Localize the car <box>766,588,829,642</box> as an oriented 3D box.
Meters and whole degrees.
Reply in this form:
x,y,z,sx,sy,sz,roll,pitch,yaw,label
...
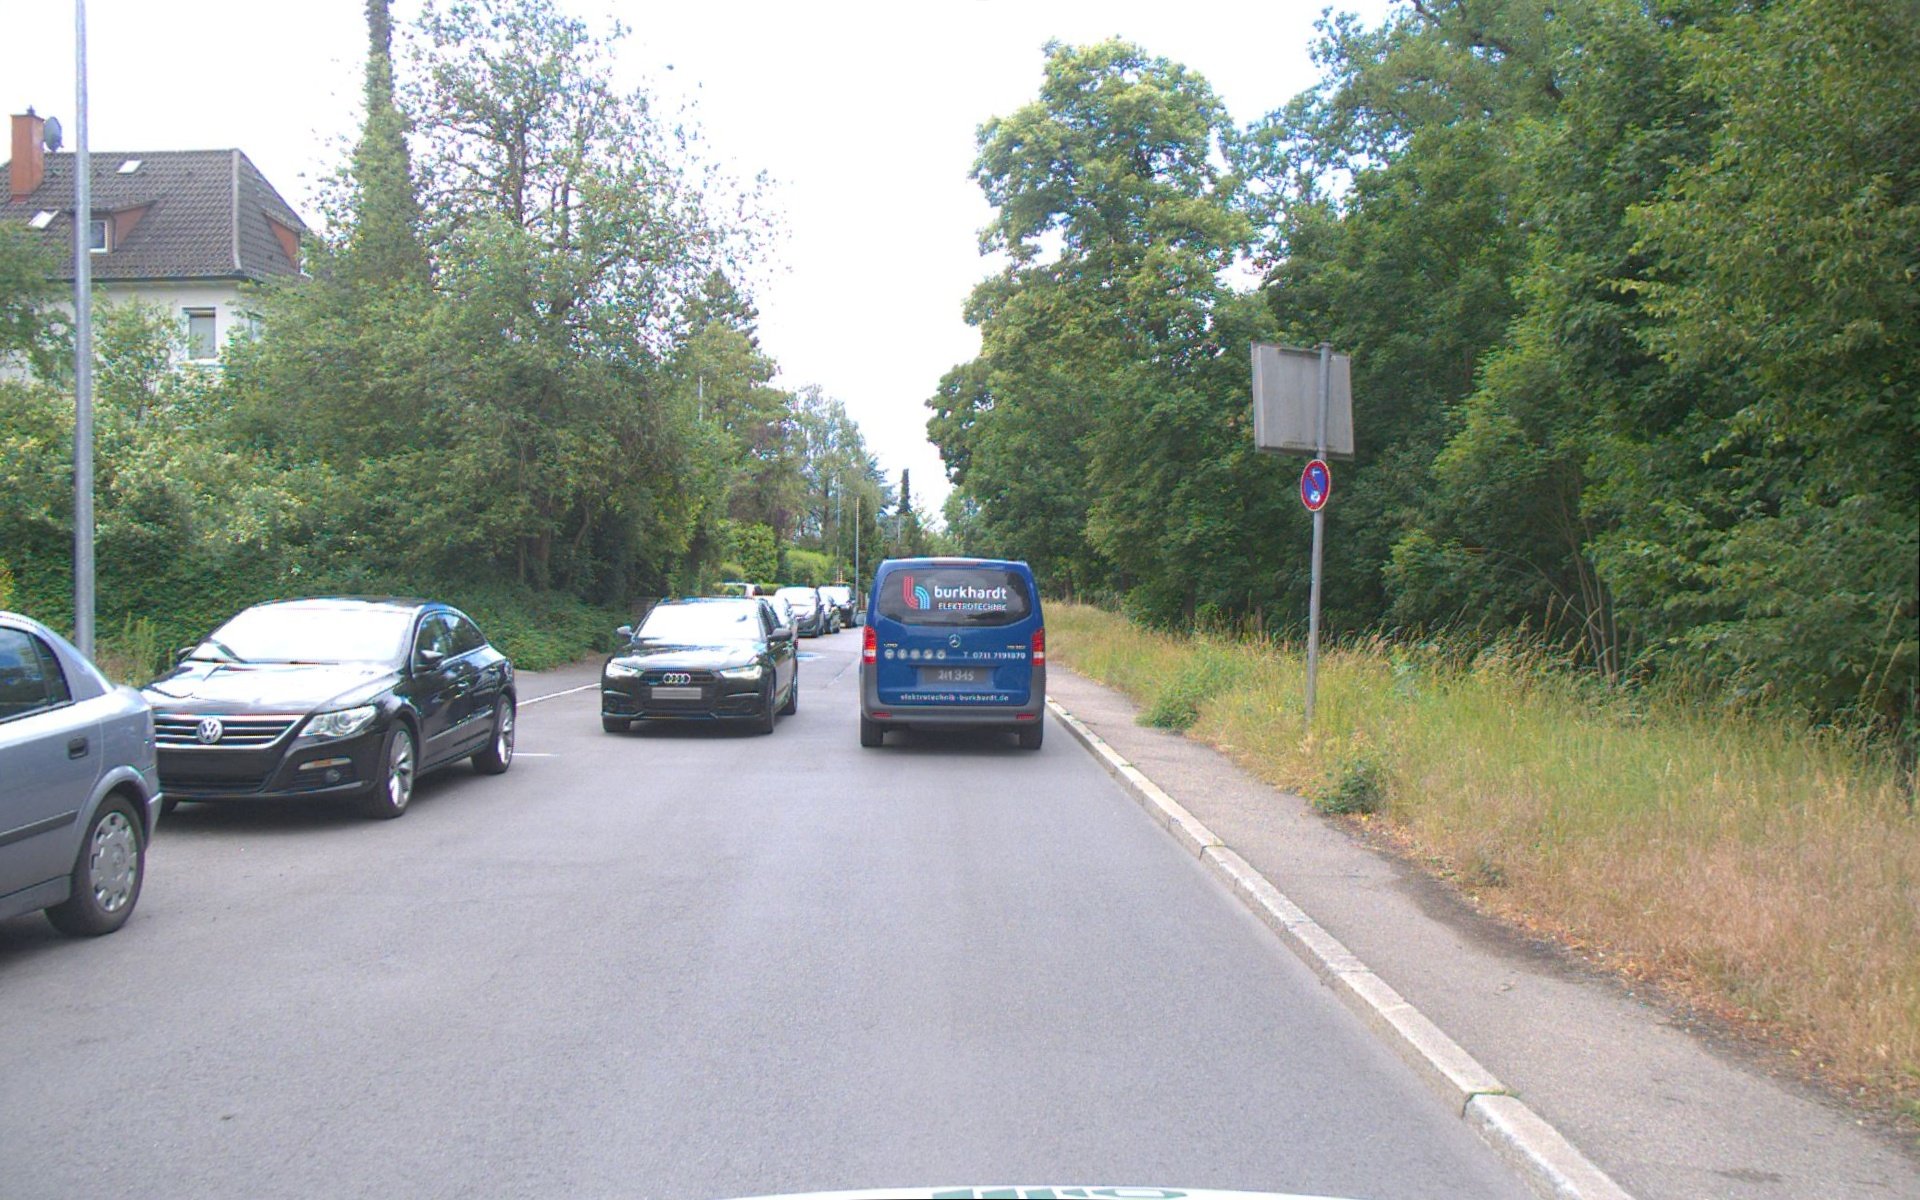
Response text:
x,y,z,sx,sy,sz,roll,pitch,yaw,label
-5.385,0.479,55.249,1.696,1.661,4.567,2,0,-1,car

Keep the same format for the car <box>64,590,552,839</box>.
x,y,z,sx,sy,sz,roll,pitch,yaw,label
-4.473,0.676,12.316,1.742,1.457,5.103,1,0,-2,car

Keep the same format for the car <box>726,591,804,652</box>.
x,y,z,sx,sy,sz,roll,pitch,yaw,label
-5.026,0.540,43.050,1.590,1.475,4.092,1,0,-1,car

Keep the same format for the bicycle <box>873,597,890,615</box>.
x,y,z,sx,sy,sz,roll,pitch,yaw,label
-5.703,0.424,119.809,0.887,1.273,2.917,3,0,3,bicycle

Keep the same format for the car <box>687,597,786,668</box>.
x,y,z,sx,sy,sz,roll,pitch,yaw,label
-4.970,0.689,37.248,1.625,1.478,4.381,0,0,0,car

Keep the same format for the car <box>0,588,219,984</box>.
x,y,z,sx,sy,sz,roll,pitch,yaw,label
-4.330,0.692,5.830,1.591,1.457,4.349,0,0,-2,car

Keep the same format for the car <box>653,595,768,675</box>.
x,y,z,sx,sy,sz,roll,pitch,yaw,label
-4.841,0.637,32.531,1.589,1.475,3.969,0,0,1,car

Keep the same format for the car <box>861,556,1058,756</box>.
x,y,z,sx,sy,sz,roll,pitch,yaw,label
-0.111,0.470,17.534,1.851,1.876,3.998,0,1,-3,car

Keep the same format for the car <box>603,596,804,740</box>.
x,y,z,sx,sy,sz,roll,pitch,yaw,label
-2.823,0.690,19.123,1.744,1.451,4.488,1,0,-2,car

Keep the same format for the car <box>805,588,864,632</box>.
x,y,z,sx,sy,sz,roll,pitch,yaw,label
-5.384,0.431,71.424,1.933,1.767,5.190,2,0,2,car

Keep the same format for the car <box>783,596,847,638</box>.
x,y,z,sx,sy,sz,roll,pitch,yaw,label
-5.284,0.607,60.700,1.718,1.437,4.899,2,0,2,car

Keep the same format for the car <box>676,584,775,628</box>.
x,y,z,sx,sy,sz,roll,pitch,yaw,label
-9.697,0.244,68.490,3.613,1.666,1.830,2,0,12,car

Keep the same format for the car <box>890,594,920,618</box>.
x,y,z,sx,sy,sz,roll,pitch,yaw,label
-4.040,0.458,122.691,1.798,1.659,4.302,2,0,3,car
